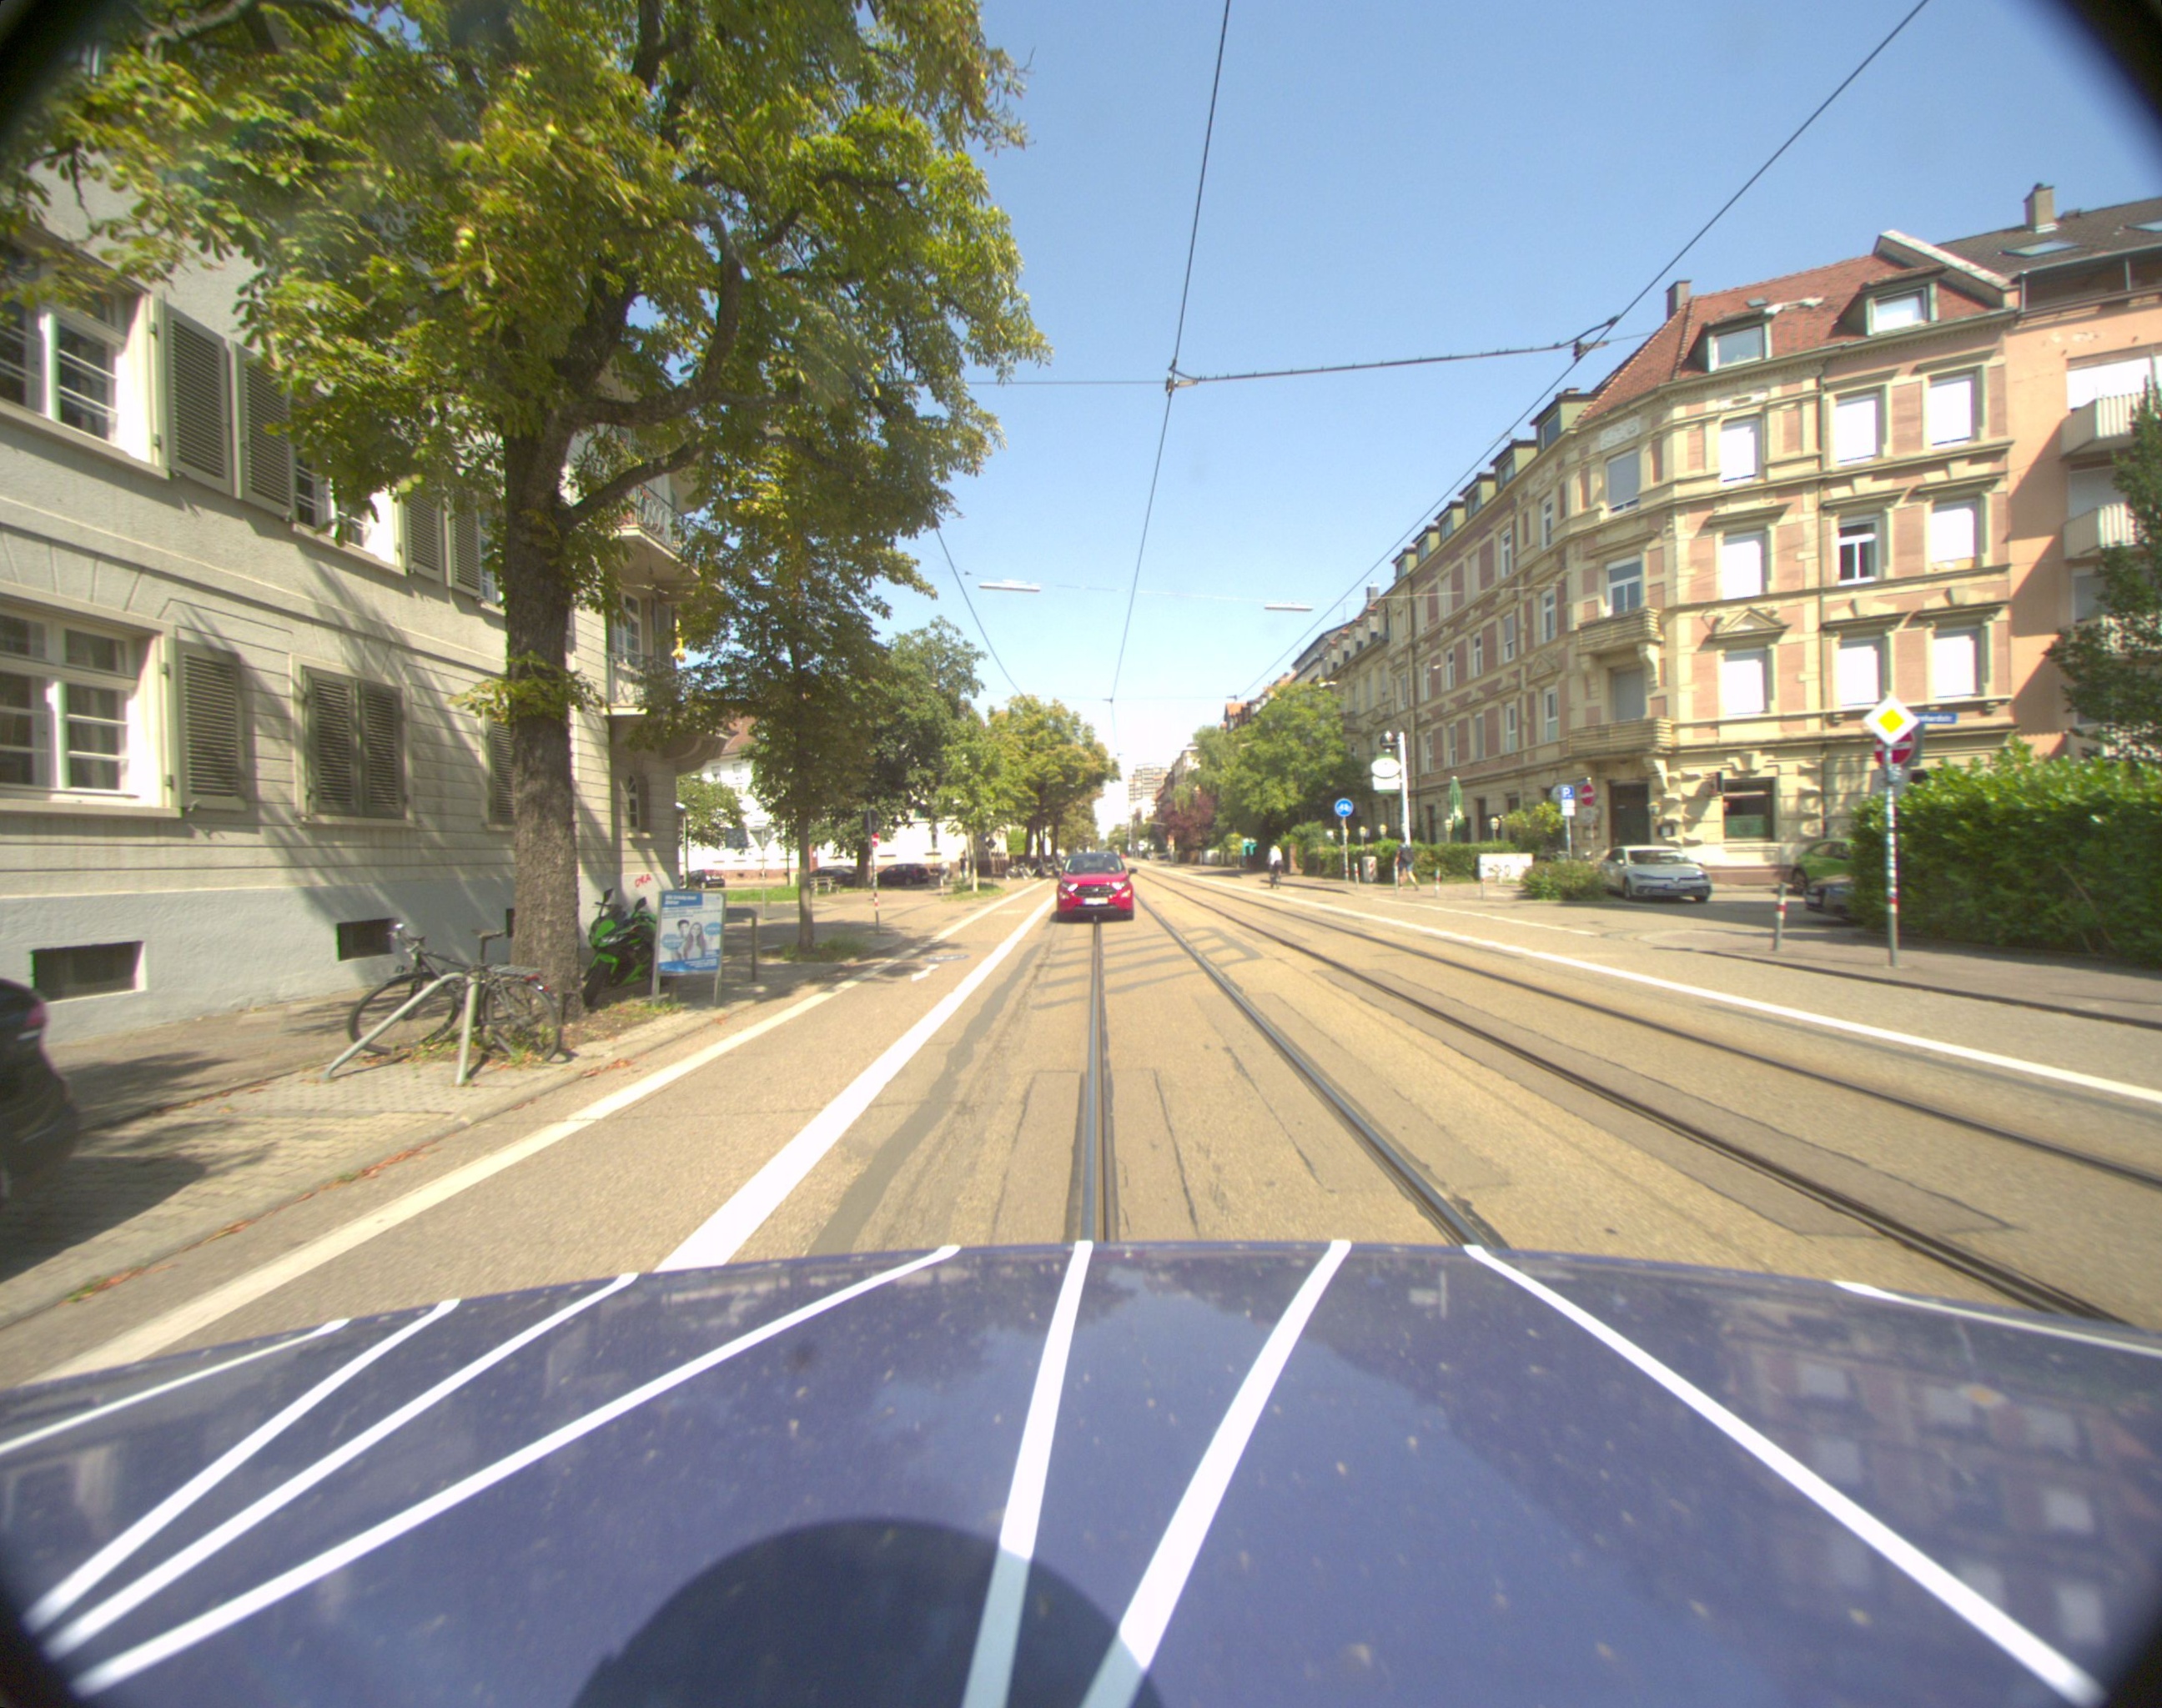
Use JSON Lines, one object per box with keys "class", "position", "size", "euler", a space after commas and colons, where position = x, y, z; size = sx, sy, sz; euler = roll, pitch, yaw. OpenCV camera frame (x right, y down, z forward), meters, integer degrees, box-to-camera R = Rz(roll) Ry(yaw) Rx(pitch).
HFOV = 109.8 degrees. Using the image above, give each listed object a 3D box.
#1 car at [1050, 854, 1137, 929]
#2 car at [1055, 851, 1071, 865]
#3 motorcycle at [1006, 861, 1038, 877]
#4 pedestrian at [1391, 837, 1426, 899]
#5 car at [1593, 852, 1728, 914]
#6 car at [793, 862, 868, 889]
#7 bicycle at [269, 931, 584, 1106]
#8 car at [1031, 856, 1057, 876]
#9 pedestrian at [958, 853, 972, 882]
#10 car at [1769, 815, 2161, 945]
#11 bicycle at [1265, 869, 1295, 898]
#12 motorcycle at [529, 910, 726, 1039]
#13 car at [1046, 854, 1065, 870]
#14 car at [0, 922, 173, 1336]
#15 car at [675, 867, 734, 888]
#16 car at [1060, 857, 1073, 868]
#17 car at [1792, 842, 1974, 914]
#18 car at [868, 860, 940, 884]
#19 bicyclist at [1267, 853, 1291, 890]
{"class": "car", "position": [0.352, 0.810, 18.387], "size": [1.815, 1.542, 4.022], "euler": [-2, 0, 3]}
{"class": "car", "position": [-2.136, 0.444, 89.043], "size": [1.598, 1.488, 4.052], "euler": [-2, 0, 2]}
{"class": "motorcycle", "position": [-3.957, 1.017, 50.937], "size": [1.999, 1.009, 0.796], "euler": [-1, 0, 1]}
{"class": "pedestrian", "position": [10.778, 0.455, 25.024], "size": [0.657, 2.002, 0.974], "euler": [-1, 0, -5]}
{"class": "car", "position": [15.648, 0.721, 20.777], "size": [1.995, 1.480, 4.151], "euler": [-1, 0, 24]}
{"class": "car", "position": [-14.429, 1.234, 43.762], "size": [3.990, 1.422, 1.841], "euler": [-2, 0, 28]}
{"class": "bicycle", "position": [-4.839, 1.199, 5.697], "size": [1.759, 1.116, 0.656], "euler": [-2, 1, 1]}
{"class": "car", "position": [-2.870, 0.906, 59.513], "size": [1.598, 1.488, 4.052], "euler": [-1, 0, 2]}
{"class": "pedestrian", "position": [-7.232, 0.861, 47.426], "size": [0.749, 1.775, 0.632], "euler": [-2, 0, 2]}
{"class": "car", "position": [14.872, 0.453, 13.119], "size": [3.991, 1.977, 1.893], "euler": [-2, 1, 23]}
{"class": "bicycle", "position": [7.825, 1.139, 30.005], "size": [0.642, 1.070, 1.915], "euler": [-1, 0, -1]}
{"class": "motorcycle", "position": [-5.217, 1.320, 9.016], "size": [0.829, 1.104, 2.497], "euler": [-2, 0, -1]}
{"class": "car", "position": [-2.464, 0.784, 74.758], "size": [1.598, 1.488, 4.052], "euler": [-2, 0, 2]}
{"class": "car", "position": [-4.800, 1.063, 1.126], "size": [1.668, 1.498, 4.433], "euler": [-1, 0, -3]}
{"class": "car", "position": [-28.147, 1.746, 56.778], "size": [3.990, 1.430, 1.979], "euler": [-2, 0, 28]}
{"class": "car", "position": [-1.983, 1.172, 104.362], "size": [1.555, 1.488, 4.265], "euler": [-2, 0, 2]}
{"class": "car", "position": [19.827, 0.540, 19.013], "size": [1.735, 1.565, 3.745], "euler": [-2, 0, 22]}
{"class": "car", "position": [-11.239, 1.144, 48.233], "size": [3.990, 1.435, 1.978], "euler": [-2, 0, 24]}
{"class": "bicyclist", "position": [7.795, 0.681, 29.887], "size": [0.657, 1.420, 0.974], "euler": [-1, 0, -1]}
